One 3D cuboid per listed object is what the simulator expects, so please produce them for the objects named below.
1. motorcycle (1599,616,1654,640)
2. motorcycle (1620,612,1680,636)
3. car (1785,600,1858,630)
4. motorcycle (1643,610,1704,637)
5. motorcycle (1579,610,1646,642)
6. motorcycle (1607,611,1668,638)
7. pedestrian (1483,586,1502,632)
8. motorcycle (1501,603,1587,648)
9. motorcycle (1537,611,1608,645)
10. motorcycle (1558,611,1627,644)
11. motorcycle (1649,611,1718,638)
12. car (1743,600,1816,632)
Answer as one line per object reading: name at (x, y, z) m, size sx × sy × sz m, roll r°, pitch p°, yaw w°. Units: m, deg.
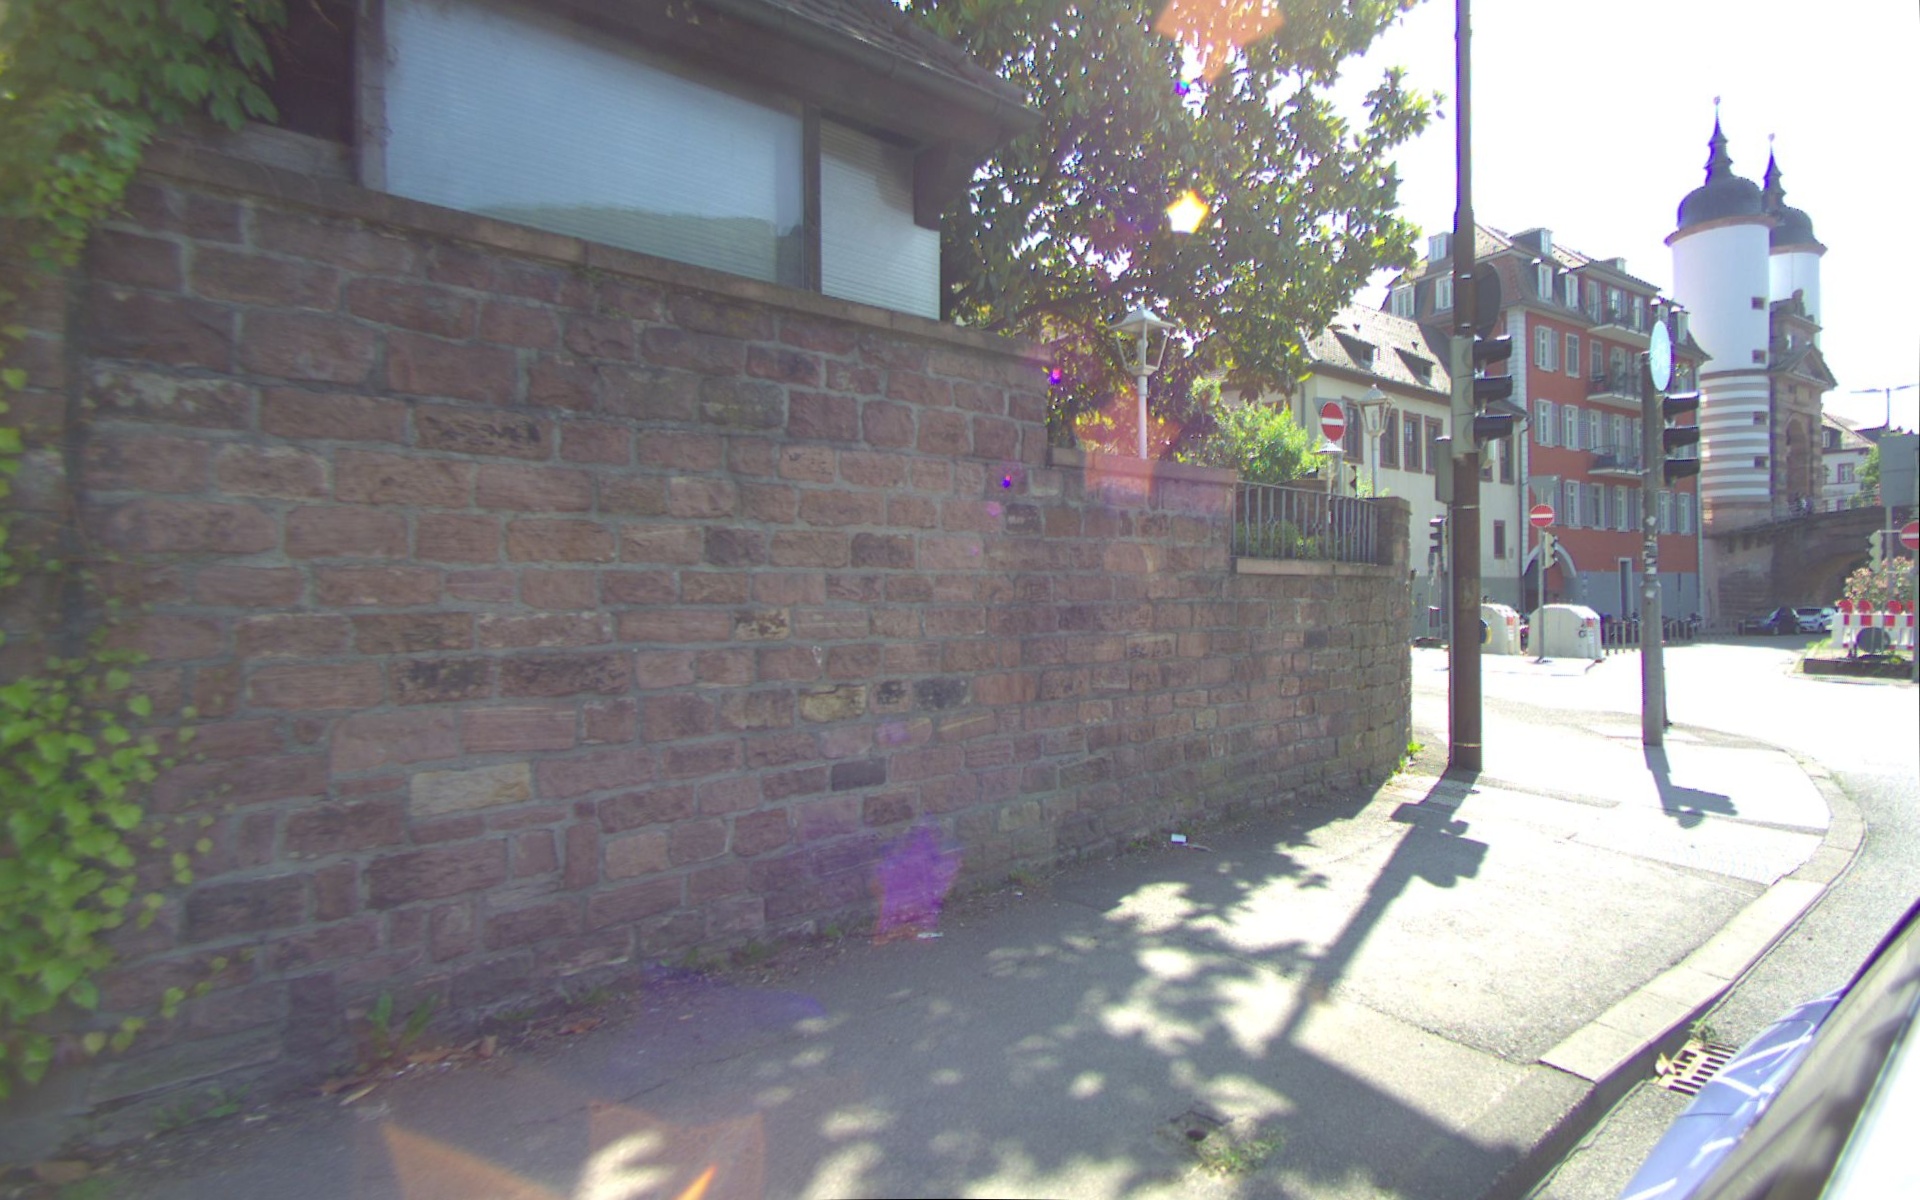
motorcycle at (28.921, 1.214, 43.942) m, size 1.900 × 0.999 × 0.546 m, roll 0°, pitch 0°, yaw 10°
motorcycle at (31.277, 1.083, 45.909) m, size 2.162 × 1.090 × 0.626 m, roll 0°, pitch 0°, yaw 10°
car at (47.744, 0.817, 56.067) m, size 4.330 × 1.511 × 1.900 m, roll -1°, pitch 1°, yaw -32°
motorcycle at (33.019, 1.092, 46.854) m, size 2.120 × 1.249 × 0.839 m, roll 0°, pitch -1°, yaw 13°
motorcycle at (26.994, 1.069, 41.900) m, size 2.154 × 1.283 × 0.779 m, roll 0°, pitch 0°, yaw 18°
motorcycle at (30.111, 1.081, 45.029) m, size 2.162 × 1.162 × 0.626 m, roll 0°, pitch 0°, yaw 10°
pedestrian at (22.042, 0.360, 41.878) m, size 0.608 × 1.845 × 0.495 m, roll -2°, pitch 1°, yaw -40°
motorcycle at (20.989, 0.908, 36.407) m, size 2.461 × 1.552 × 1.048 m, roll 0°, pitch 0°, yaw 15°
motorcycle at (23.362, 1.045, 38.618) m, size 2.206 × 1.268 × 0.625 m, roll 0°, pitch 0°, yaw 18°
motorcycle at (24.753, 1.073, 39.640) m, size 2.168 × 1.283 × 0.625 m, roll 0°, pitch 0°, yaw 18°
motorcycle at (34.196, 1.162, 47.845) m, size 2.504 × 1.249 × 0.839 m, roll 0°, pitch -1°, yaw 13°
car at (43.566, 0.836, 53.811) m, size 3.734 × 1.562 × 1.679 m, roll -1°, pitch -1°, yaw -28°
